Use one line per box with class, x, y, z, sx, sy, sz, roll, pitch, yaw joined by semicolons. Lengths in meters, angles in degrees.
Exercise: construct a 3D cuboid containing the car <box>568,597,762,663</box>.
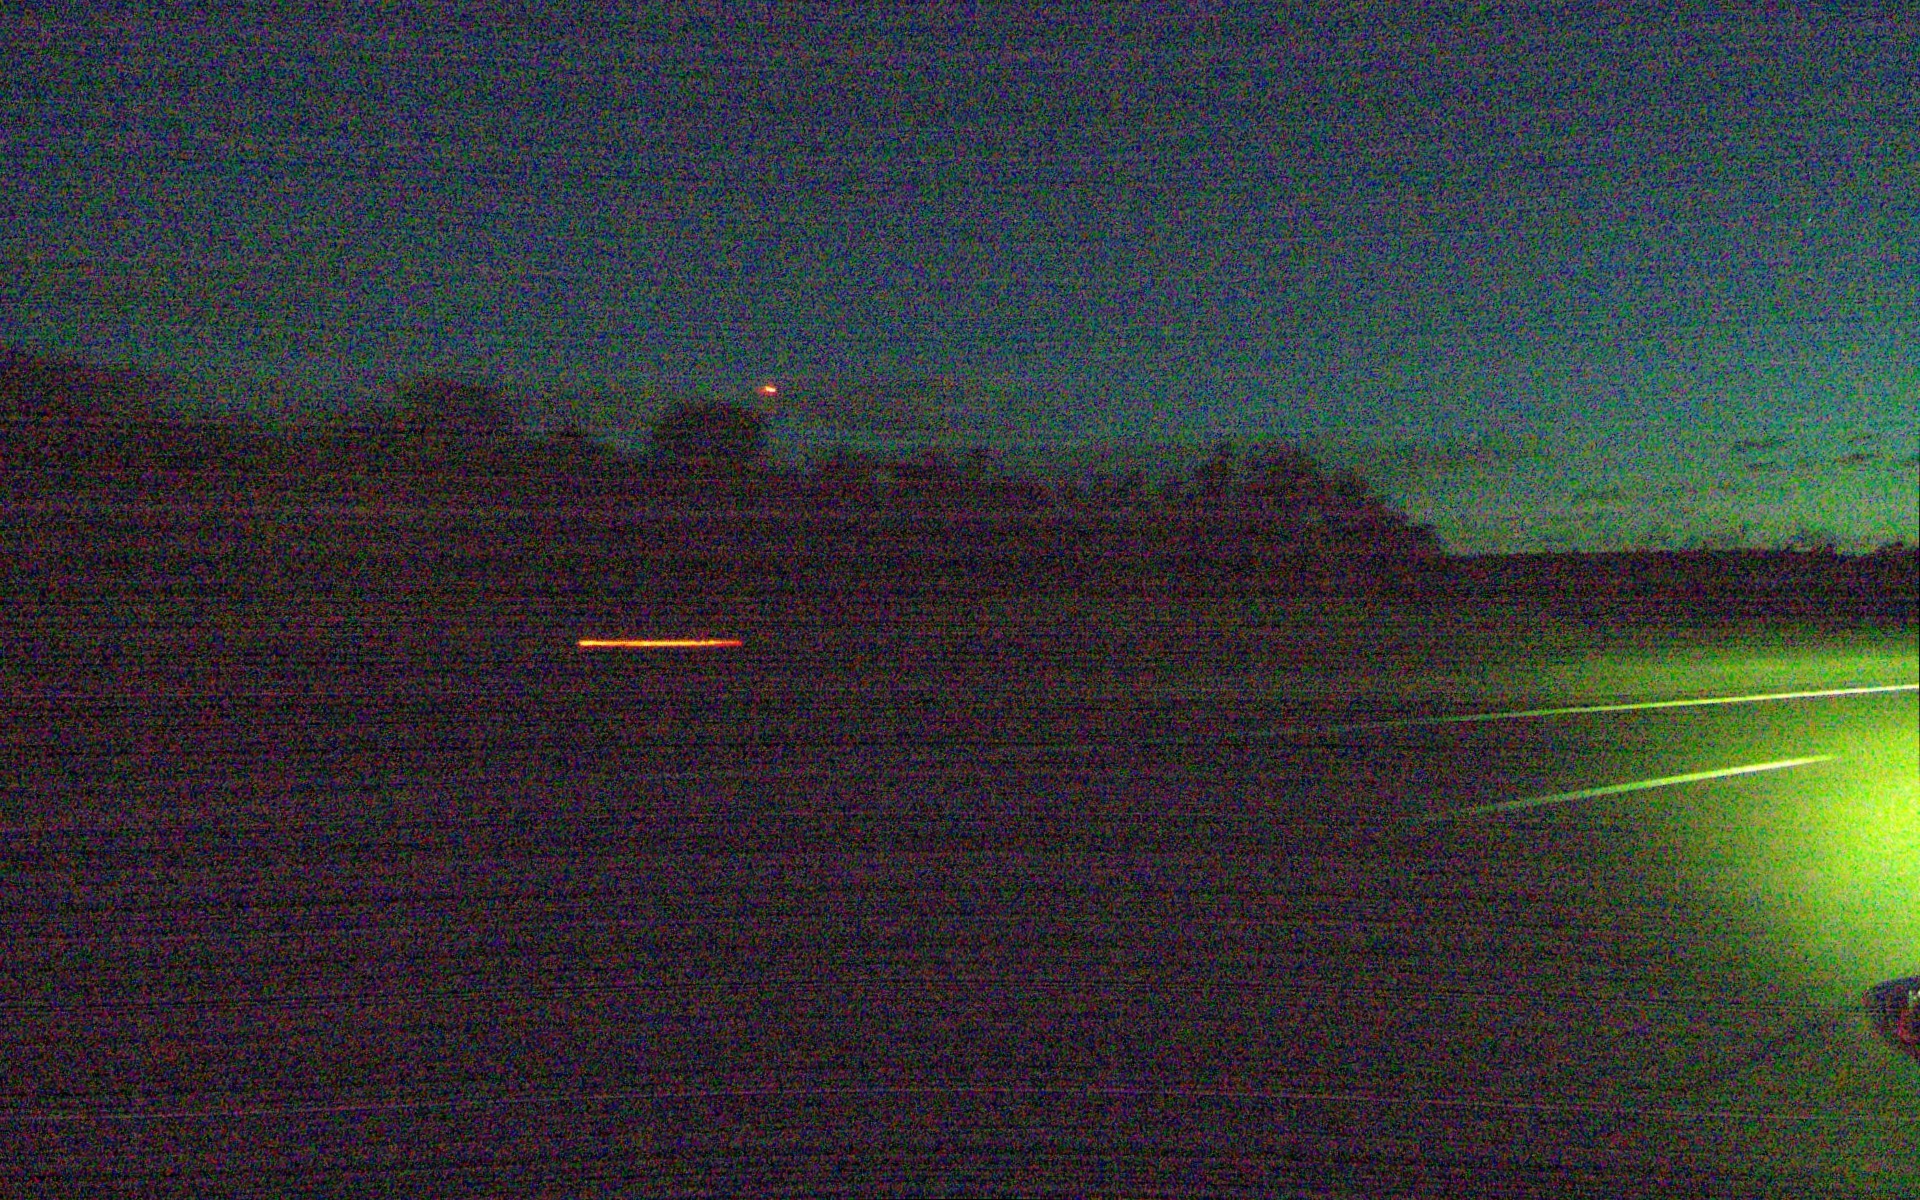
car;-6.346;0.653;21.711;3.748;1.305;1.549;2;0;-30
